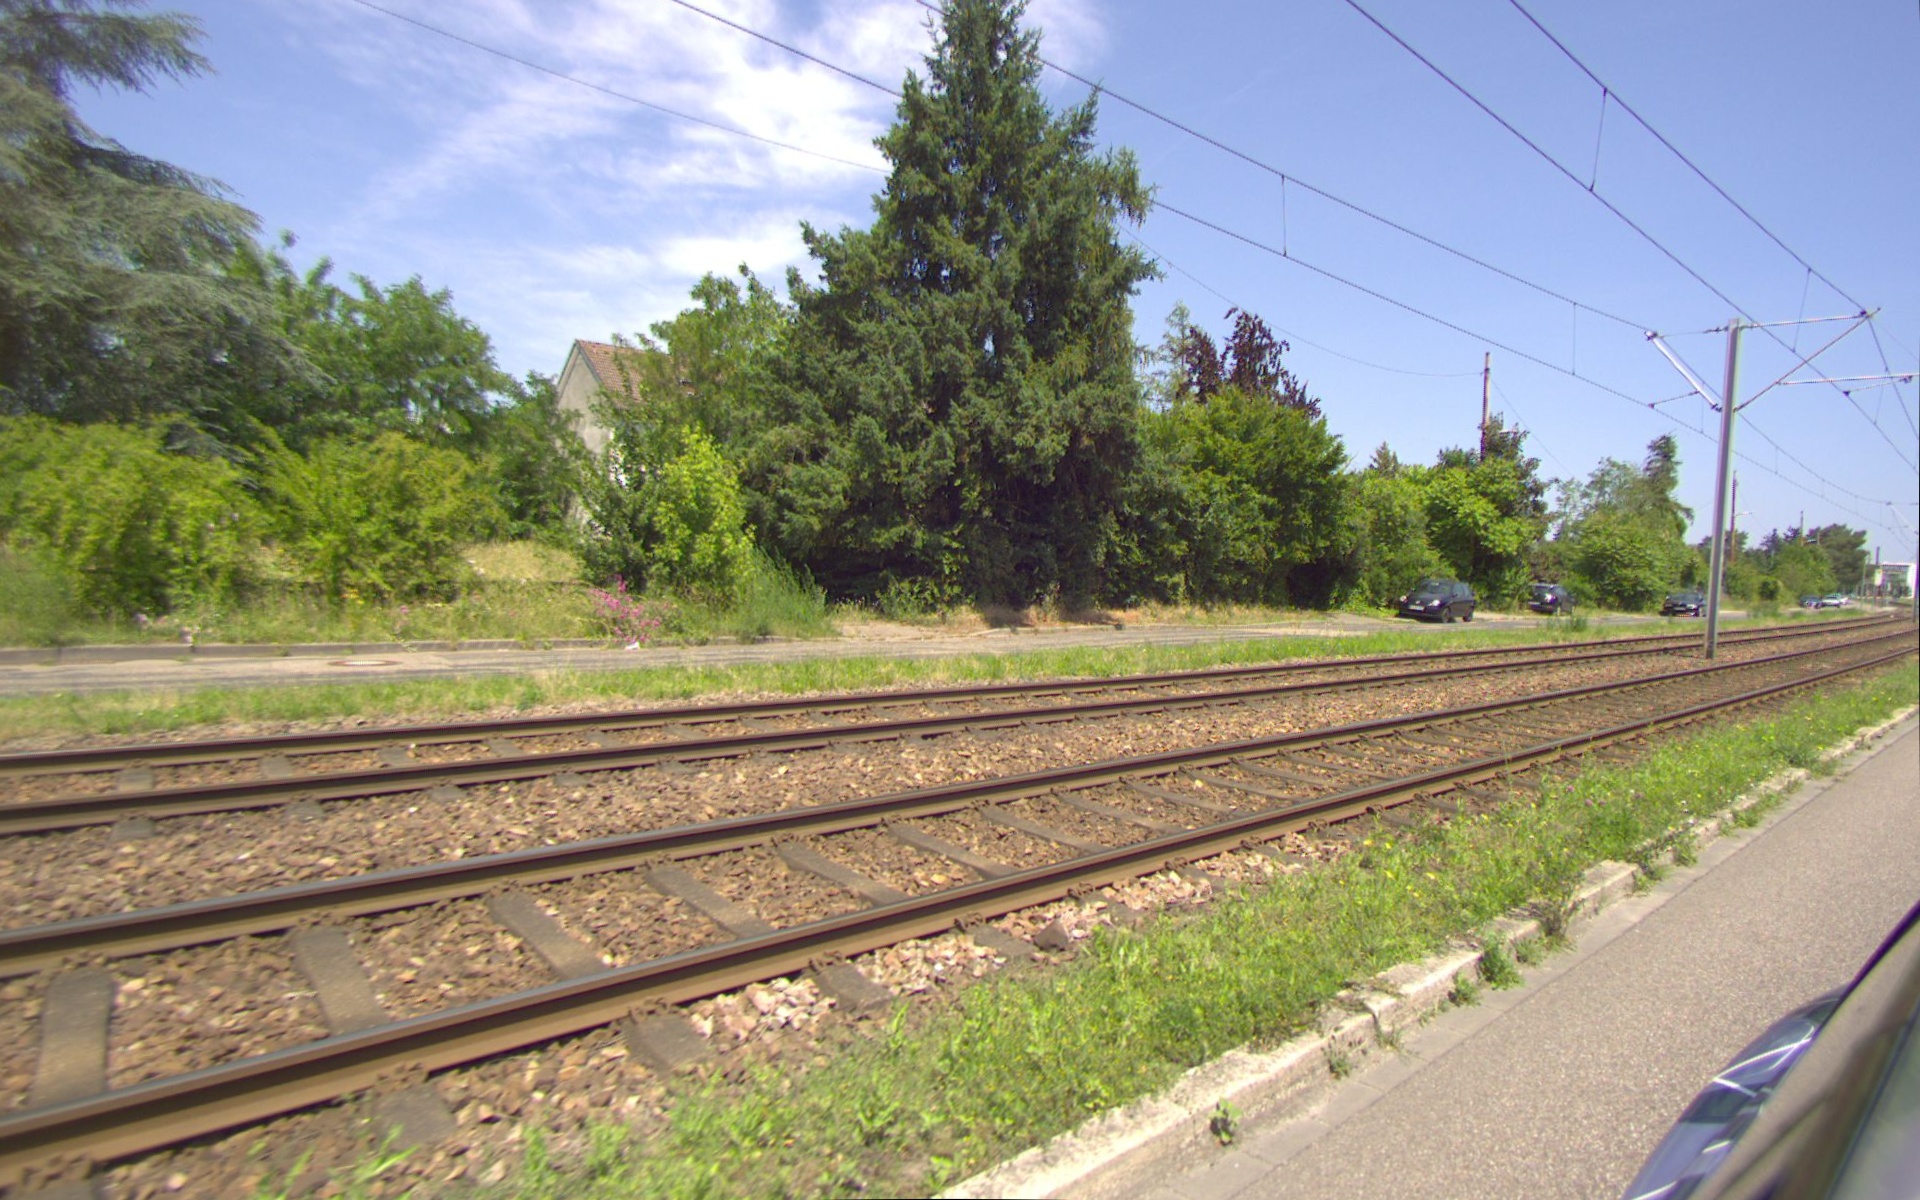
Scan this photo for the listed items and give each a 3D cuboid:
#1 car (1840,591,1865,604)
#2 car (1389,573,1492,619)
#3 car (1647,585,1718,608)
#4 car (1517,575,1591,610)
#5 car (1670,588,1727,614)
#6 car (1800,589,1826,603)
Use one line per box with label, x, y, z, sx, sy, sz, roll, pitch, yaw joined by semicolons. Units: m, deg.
car;104.037;-0.330;117.978;1.940;1.439;3.937;3;3;44
car;17.118;-0.160;35.968;3.931;1.488;1.917;0;3;-42
car;55.236;-0.292;77.387;1.864;1.536;3.999;0;2;-37
car;28.521;-0.381;48.510;4.482;1.580;1.936;-1;3;-44
car;41.227;0.008;56.450;4.441;1.346;1.862;-1;3;-44
car;89.670;-0.453;106.359;1.621;1.439;4.795;3;3;45
